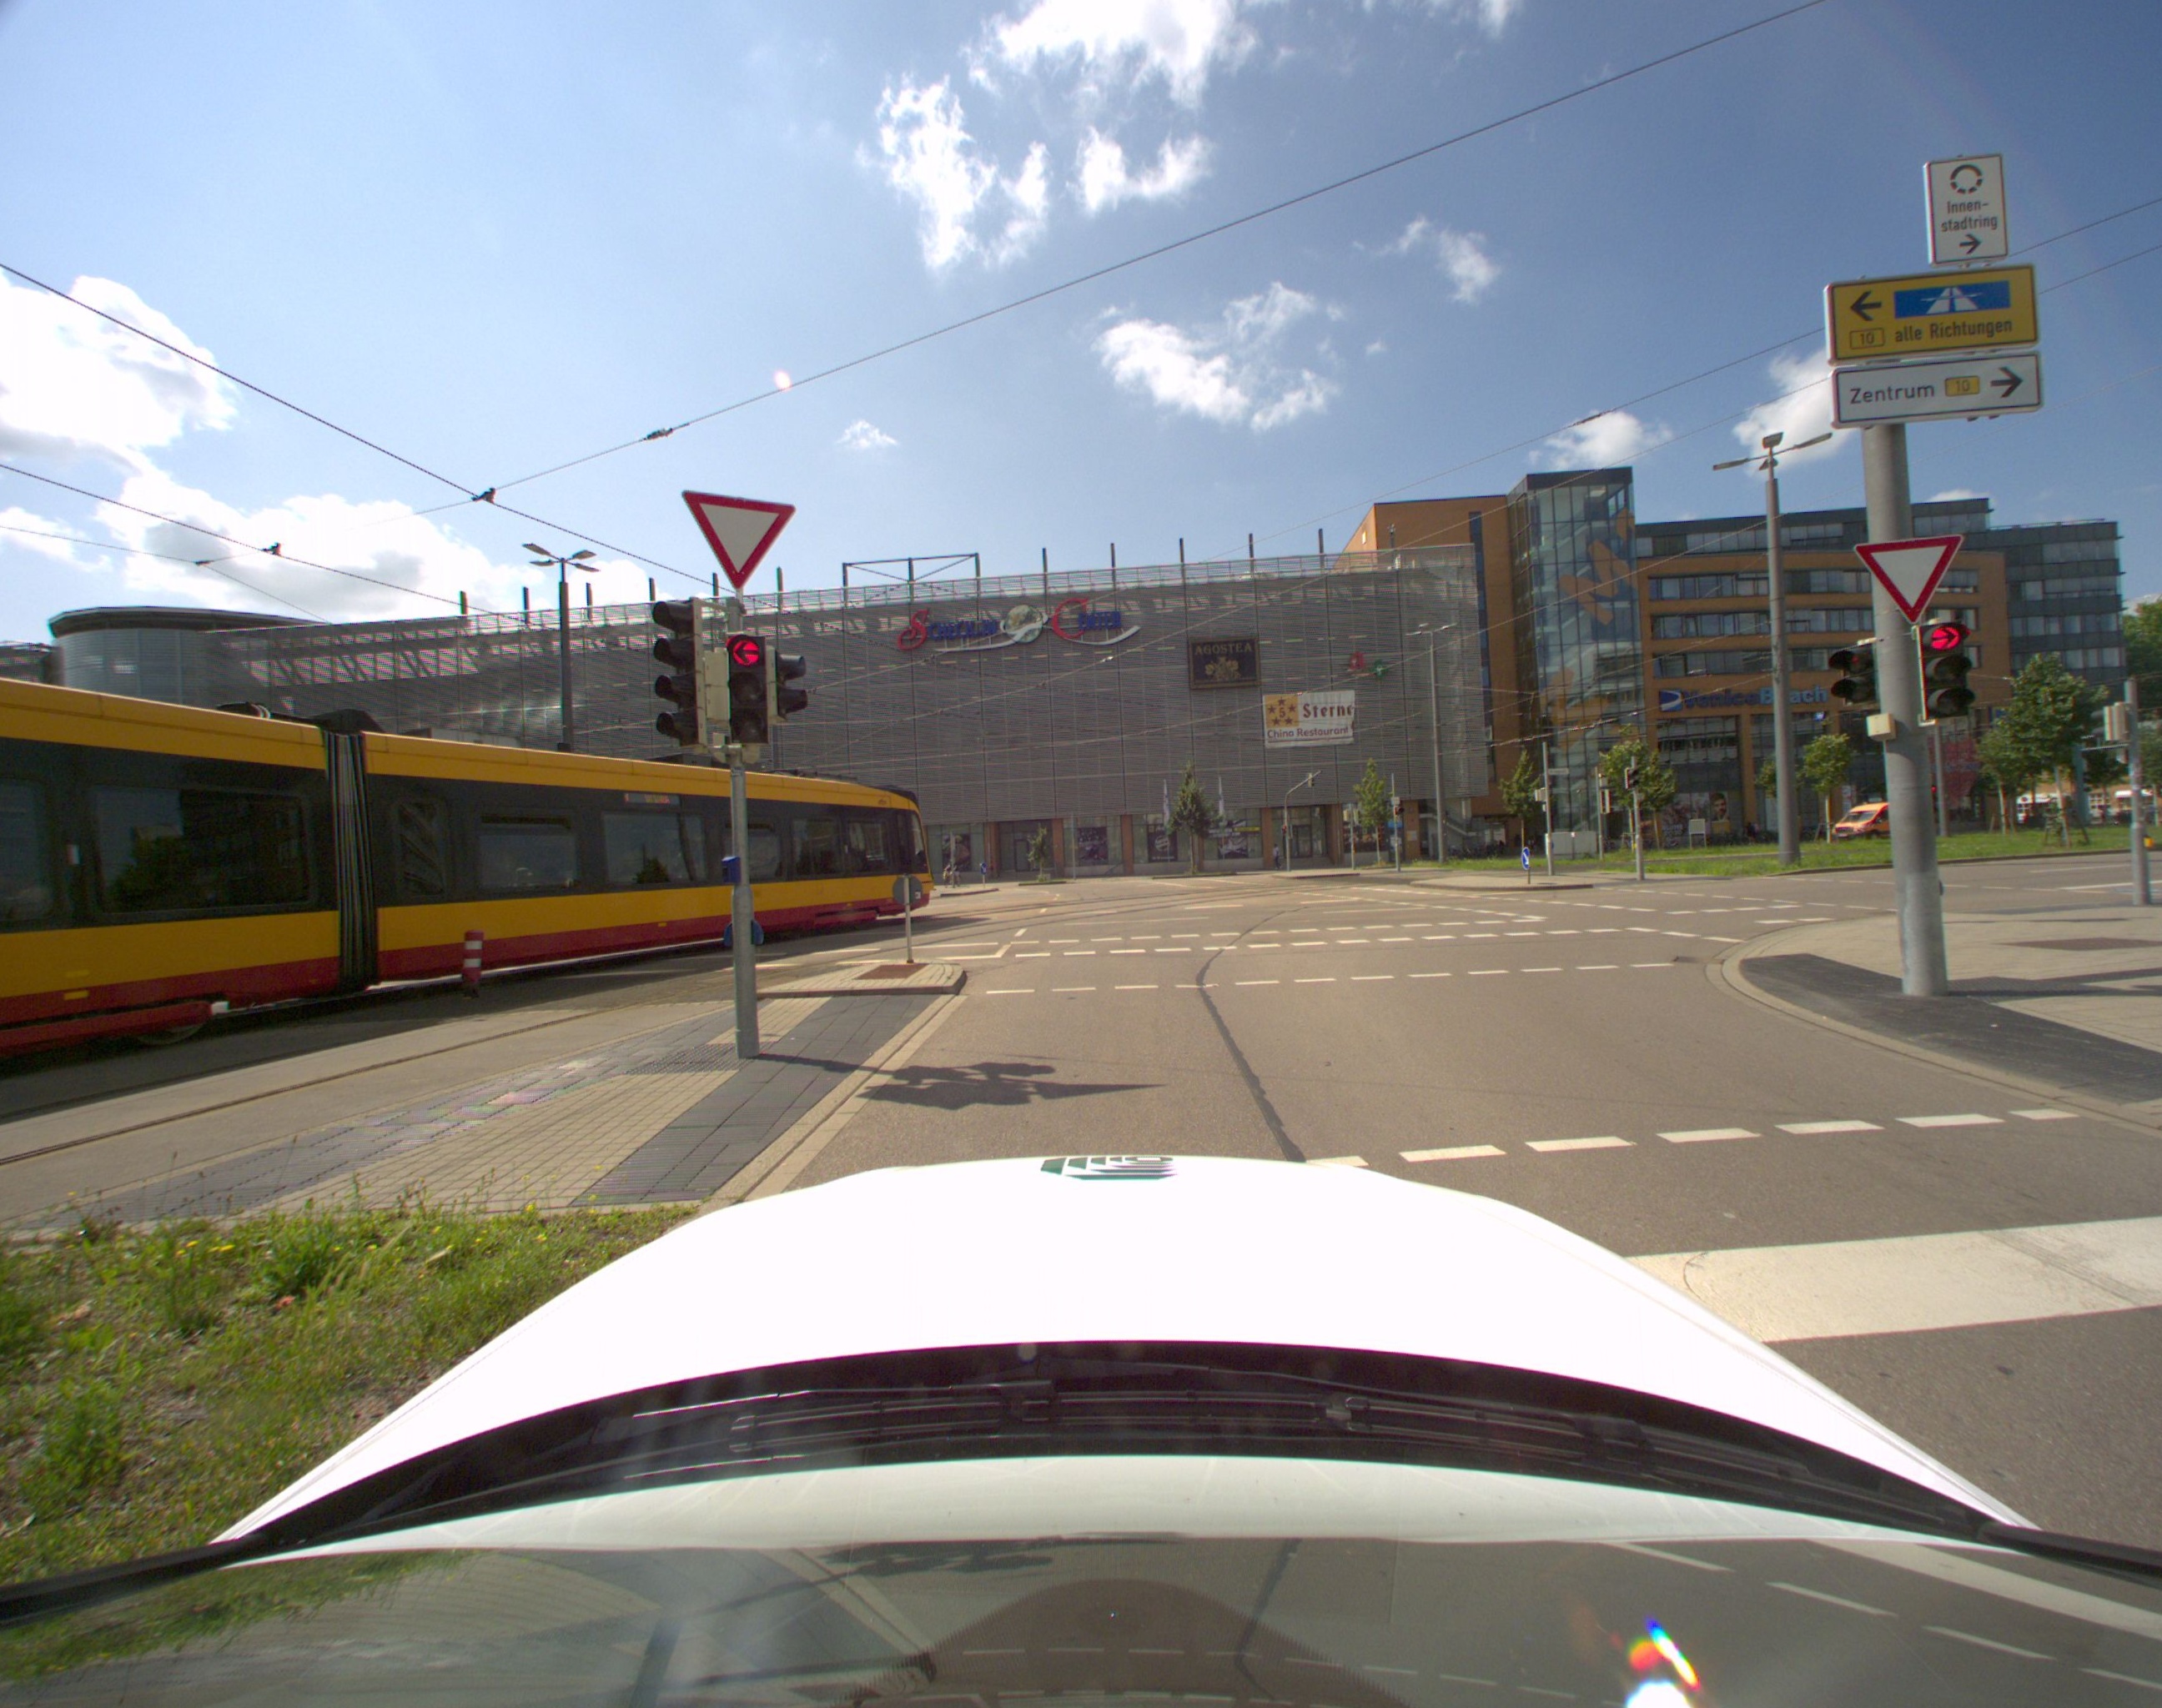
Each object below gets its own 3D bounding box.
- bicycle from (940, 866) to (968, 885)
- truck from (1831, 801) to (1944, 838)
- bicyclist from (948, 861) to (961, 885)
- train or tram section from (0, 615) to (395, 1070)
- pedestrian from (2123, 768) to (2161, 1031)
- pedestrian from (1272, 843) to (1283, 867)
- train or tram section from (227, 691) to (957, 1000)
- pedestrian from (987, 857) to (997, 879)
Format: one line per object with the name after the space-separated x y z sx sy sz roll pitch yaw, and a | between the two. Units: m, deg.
-8.612 1.481 55.318 1.776 1.224 0.577 -2 0 -41 | bicycle
49.728 -2.123 50.243 5.500 2.085 1.995 -2 0 -7 | truck
-8.609 1.294 55.325 0.668 1.623 0.544 -1 0 -41 | bicyclist
-10.305 -0.016 4.286 3.039 3.603 11.012 -4 0 6 | train or tram section
7.480 0.265 5.122 0.810 1.702 0.911 -3 -1 -25 | pedestrian
14.147 0.068 58.723 0.615 1.746 0.630 -2 0 3 | pedestrian
-7.231 -0.140 15.946 3.028 3.621 12.707 -4 0 23 | train or tram section
-6.675 1.020 61.112 0.659 1.623 0.517 -2 0 4 | pedestrian
